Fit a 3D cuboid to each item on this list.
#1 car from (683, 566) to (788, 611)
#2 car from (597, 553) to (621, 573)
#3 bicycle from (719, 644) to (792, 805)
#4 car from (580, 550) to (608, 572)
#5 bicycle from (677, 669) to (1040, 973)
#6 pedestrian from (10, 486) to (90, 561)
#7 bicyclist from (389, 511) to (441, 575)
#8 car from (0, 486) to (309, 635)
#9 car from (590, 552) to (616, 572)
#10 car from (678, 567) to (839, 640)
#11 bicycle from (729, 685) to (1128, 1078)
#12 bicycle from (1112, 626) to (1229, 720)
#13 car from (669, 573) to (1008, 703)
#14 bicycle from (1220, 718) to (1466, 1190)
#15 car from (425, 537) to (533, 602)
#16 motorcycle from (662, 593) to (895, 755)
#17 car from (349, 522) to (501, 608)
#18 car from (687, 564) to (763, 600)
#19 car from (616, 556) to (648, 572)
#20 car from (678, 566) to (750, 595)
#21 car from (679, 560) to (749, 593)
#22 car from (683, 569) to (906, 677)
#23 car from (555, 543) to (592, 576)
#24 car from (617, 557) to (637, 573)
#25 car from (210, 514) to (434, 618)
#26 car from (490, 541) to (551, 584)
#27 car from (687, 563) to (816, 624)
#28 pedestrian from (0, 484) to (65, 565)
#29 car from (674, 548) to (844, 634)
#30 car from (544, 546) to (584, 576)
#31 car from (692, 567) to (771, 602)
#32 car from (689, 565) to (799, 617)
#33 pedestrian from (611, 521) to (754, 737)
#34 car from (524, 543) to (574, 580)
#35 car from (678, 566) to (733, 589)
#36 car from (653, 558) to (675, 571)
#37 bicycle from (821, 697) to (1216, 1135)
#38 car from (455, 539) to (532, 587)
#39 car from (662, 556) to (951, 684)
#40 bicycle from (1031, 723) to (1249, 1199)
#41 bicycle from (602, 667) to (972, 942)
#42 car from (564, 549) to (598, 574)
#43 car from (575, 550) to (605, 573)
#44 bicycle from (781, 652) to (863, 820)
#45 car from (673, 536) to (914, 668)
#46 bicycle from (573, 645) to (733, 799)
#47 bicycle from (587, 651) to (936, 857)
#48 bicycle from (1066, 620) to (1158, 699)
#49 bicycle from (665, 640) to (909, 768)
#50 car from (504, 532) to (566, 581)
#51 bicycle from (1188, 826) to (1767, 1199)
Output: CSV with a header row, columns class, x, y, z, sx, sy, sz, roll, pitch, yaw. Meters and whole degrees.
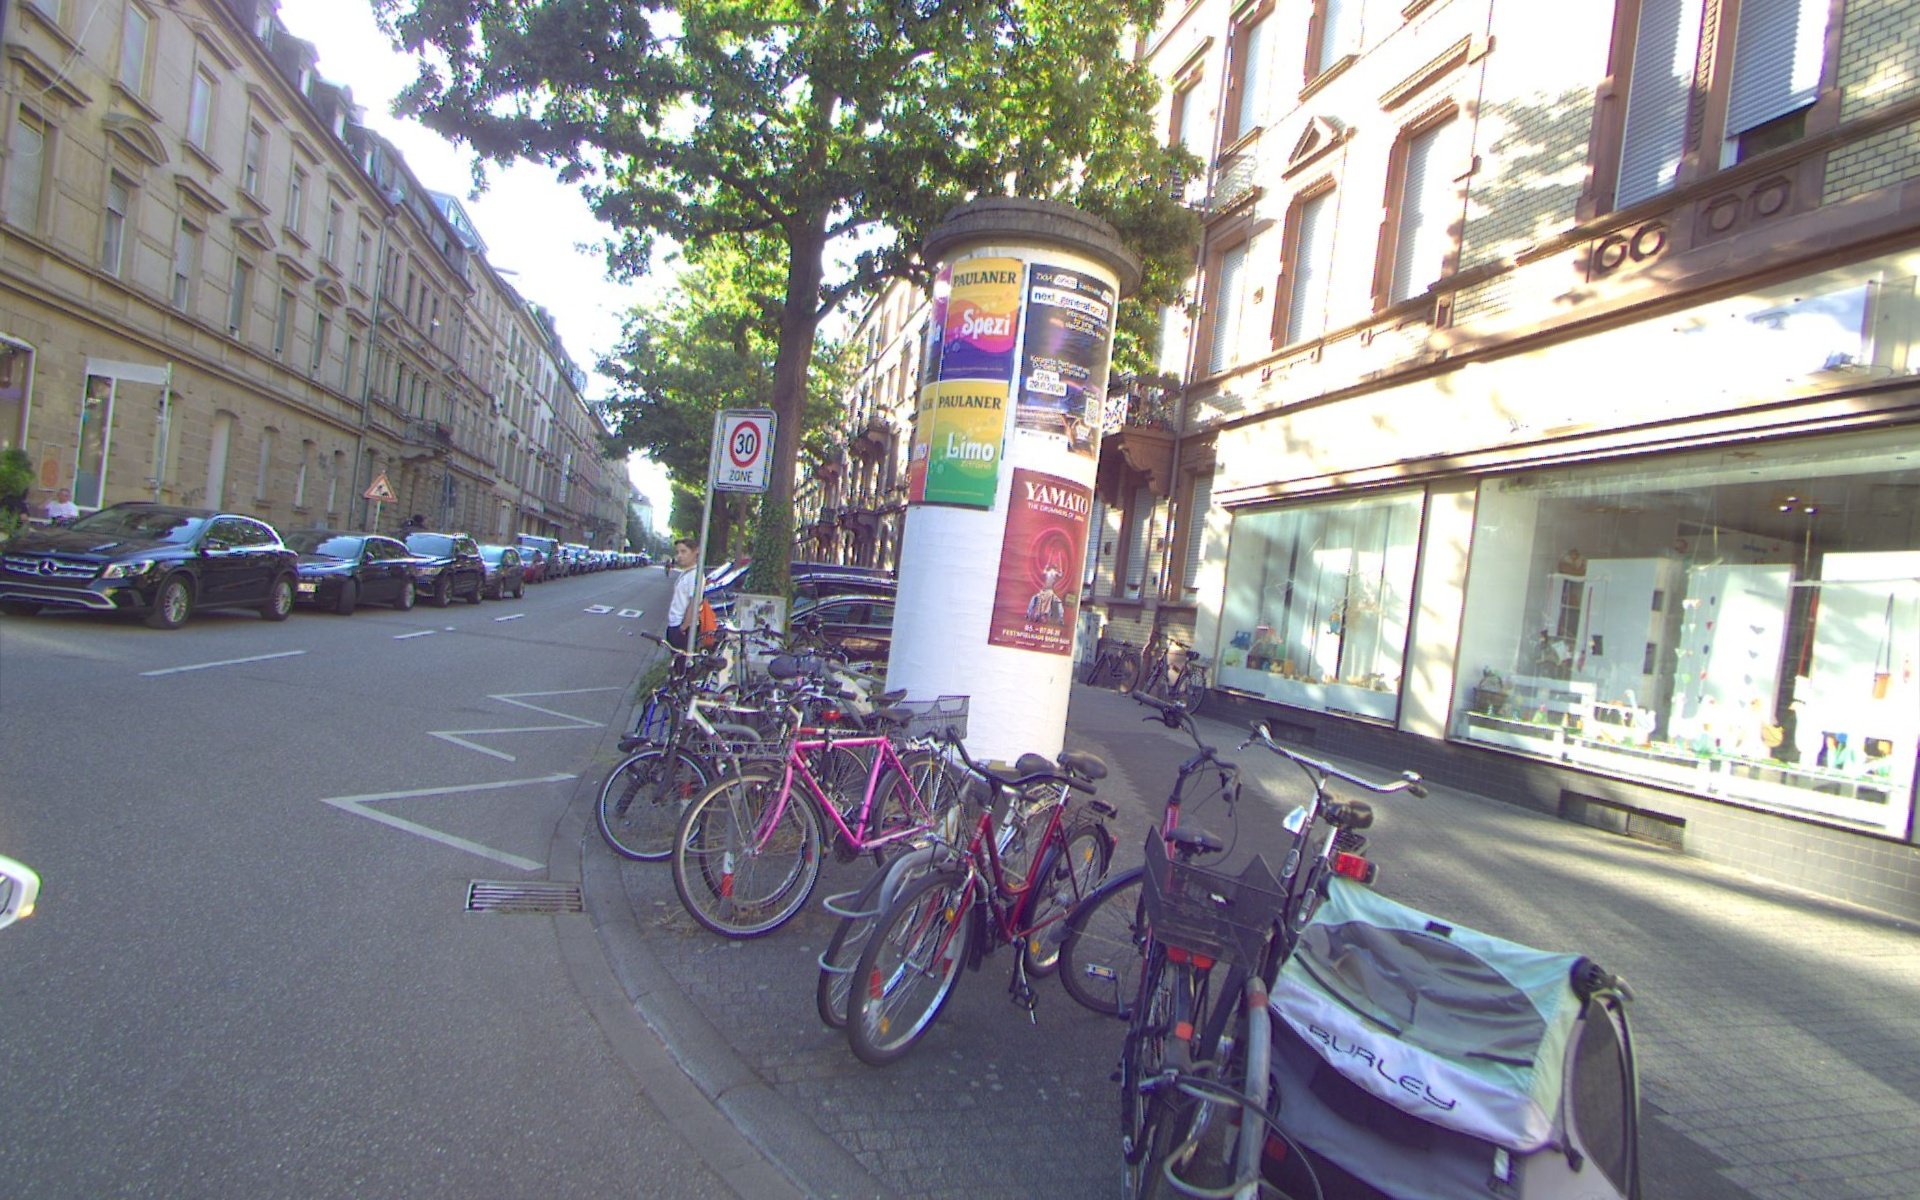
class,x,y,z,sx,sy,sz,roll,pitch,yaw
car,-9.806,-0.510,43.934,4.289,1.577,1.842,4,2,-16
car,-31.720,-3.360,90.909,1.737,1.491,4.043,7,1,-17
bicycle,-1.441,0.838,7.217,0.348,0.939,1.523,4,0,-8
car,-29.132,-3.106,80.225,1.737,1.491,4.043,7,1,-17
bicycle,-0.361,0.902,4.709,0.419,1.107,1.928,5,1,37
pedestrian,-16.445,-1.367,18.200,0.717,1.229,0.754,7,1,-18
bicyclist,-16.965,-1.754,31.339,0.983,1.812,1.204,7,1,-14
car,-10.483,-0.480,13.189,1.735,1.506,4.130,6,0,-11
car,-30.619,-3.280,86.278,1.737,1.491,4.043,7,1,-17
car,-5.452,0.086,27.094,4.003,1.529,1.872,5,1,-16
bicycle,0.006,0.930,3.946,0.418,1.107,1.929,5,0,35
bicycle,3.188,1.074,15.574,0.661,1.186,2.586,5,0,-13
car,-1.839,0.560,15.203,4.723,1.431,1.846,6,0,-14
bicycle,1.268,1.060,3.532,0.563,1.107,1.477,5,0,16
car,-13.501,-0.855,28.484,1.735,1.520,4.049,6,0,-12
motorcycle,-1.601,0.650,8.894,1.873,1.250,0.683,5,1,-15
car,-12.307,-0.790,23.486,1.735,1.620,4.539,6,0,-11
car,-13.061,-1.010,55.945,3.960,1.627,1.728,5,1,-16
car,-43.094,-4.738,132.179,1.962,1.503,4.003,6,-1,17
car,-15.508,-1.237,63.485,4.173,1.422,1.826,5,1,-20
car,-16.837,-1.624,68.932,4.193,1.818,1.817,5,2,-35
car,-3.291,0.446,19.893,4.055,1.553,1.719,7,0,-15
car,-24.876,-2.628,64.841,1.737,1.865,4.512,6,1,-17
car,-40.439,-4.255,122.244,1.970,1.503,3.988,7,-1,-16
car,-11.408,-0.567,18.411,1.734,1.470,4.542,6,0,-10
car,-18.676,-1.585,42.913,1.573,1.493,3.688,9,0,-13
car,-7.152,-0.221,34.665,4.130,1.648,1.832,5,1,-13
pedestrian,-15.968,-1.279,17.143,0.717,1.274,0.754,7,1,-18
car,-5.972,-0.249,29.781,4.620,2.059,1.871,5,1,-19
car,-23.728,-2.352,60.368,1.739,1.485,3.984,9,0,-17
car,-12.230,-0.840,53.737,3.960,1.486,1.728,5,1,-16
car,-8.455,-0.362,39.321,3.961,1.648,1.798,5,1,-17
pedestrian,-2.716,0.277,9.877,1.101,1.922,0.840,7,1,-16
car,-21.946,-2.063,53.887,1.733,1.628,4.369,9,0,-15
car,-19.005,-1.680,75.158,3.805,1.310,1.710,5,1,-19
car,-58.614,-7.025,199.233,3.932,1.882,1.748,8,1,-8
bicycle,0.343,0.962,3.685,0.418,1.107,1.929,5,0,35
car,-17.762,-1.394,38.446,1.736,1.520,4.048,6,0,-13
car,-2.678,0.344,17.570,4.627,1.700,1.846,6,0,-14
bicycle,0.581,1.011,2.996,0.417,1.107,1.477,5,0,15
bicycle,-0.749,0.890,4.995,0.495,1.065,1.928,5,1,37
car,-26.220,-2.664,69.699,1.737,1.491,4.043,7,1,-17
car,-27.780,-2.882,75.572,1.737,1.491,4.043,7,1,-17
bicycle,-0.990,0.888,7.013,0.348,0.939,1.521,4,0,-14
car,-3.775,0.059,22.689,4.962,2.242,1.985,7,0,-17
bicycle,-2.152,0.821,7.212,0.348,0.939,1.413,5,0,15
bicycle,-1.086,0.845,5.841,1.919,1.000,0.492,4,1,-38
bicycle,2.687,1.024,18.145,0.661,1.186,2.586,5,0,-13
bicycle,-1.423,0.870,8.345,1.906,0.939,0.353,4,1,-16
car,-20.268,-2.050,48.215,1.811,1.966,5.242,9,0,-15
bicycle,1.155,1.130,2.271,0.991,1.039,0.731,7,0,-37
